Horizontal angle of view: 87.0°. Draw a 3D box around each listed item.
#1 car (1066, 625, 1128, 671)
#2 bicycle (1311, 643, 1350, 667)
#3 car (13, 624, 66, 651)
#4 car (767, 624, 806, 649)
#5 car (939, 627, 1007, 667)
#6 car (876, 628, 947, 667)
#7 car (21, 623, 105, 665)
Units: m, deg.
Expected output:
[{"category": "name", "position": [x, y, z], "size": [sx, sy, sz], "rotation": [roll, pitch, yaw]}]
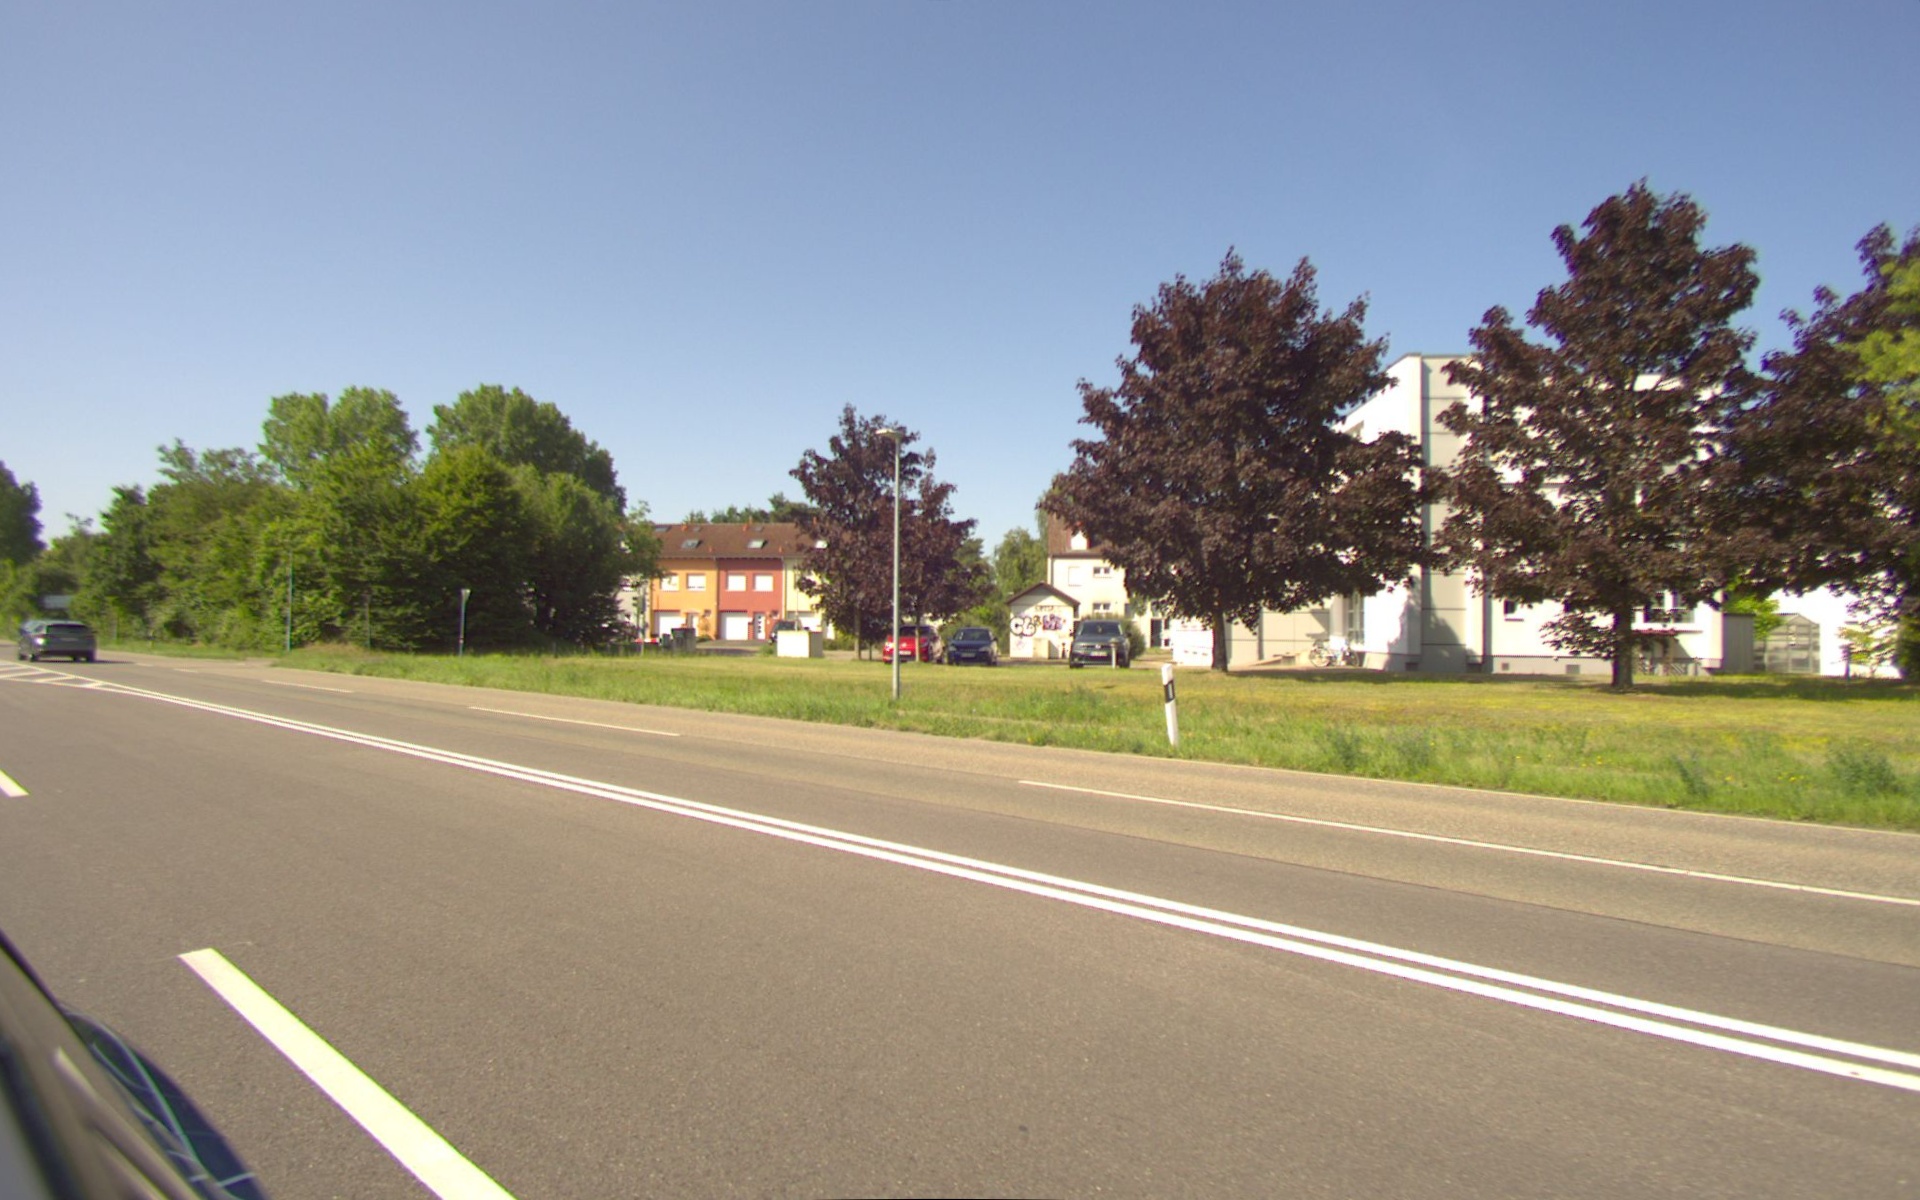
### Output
[{"category": "car", "position": [4.497, 1.561, 32.842], "size": [1.803, 1.381, 3.986], "rotation": [-1, -3, 11]}, {"category": "bicycle", "position": [12.894, 1.916, 35.259], "size": [1.238, 0.818, 0.408], "rotation": [0, -2, 17]}, {"category": "car", "position": [-51.271, 2.101, 56.341], "size": [3.999, 1.422, 1.745], "rotation": [-3, -3, 42]}, {"category": "car", "position": [-12.596, 2.627, 73.595], "size": [1.974, 1.595, 3.996], "rotation": [0, 1, 3]}, {"category": "car", "position": [0.520, 1.711, 36.770], "size": [1.803, 1.381, 3.986], "rotation": [-1, -3, 11]}, {"category": "car", "position": [-1.784, 1.810, 38.480], "size": [1.803, 1.381, 3.986], "rotation": [-1, -3, 11]}, {"category": "car", "position": [-31.937, 1.562, 35.996], "size": [4.172, 1.422, 1.745], "rotation": [-3, -3, 42]}]
